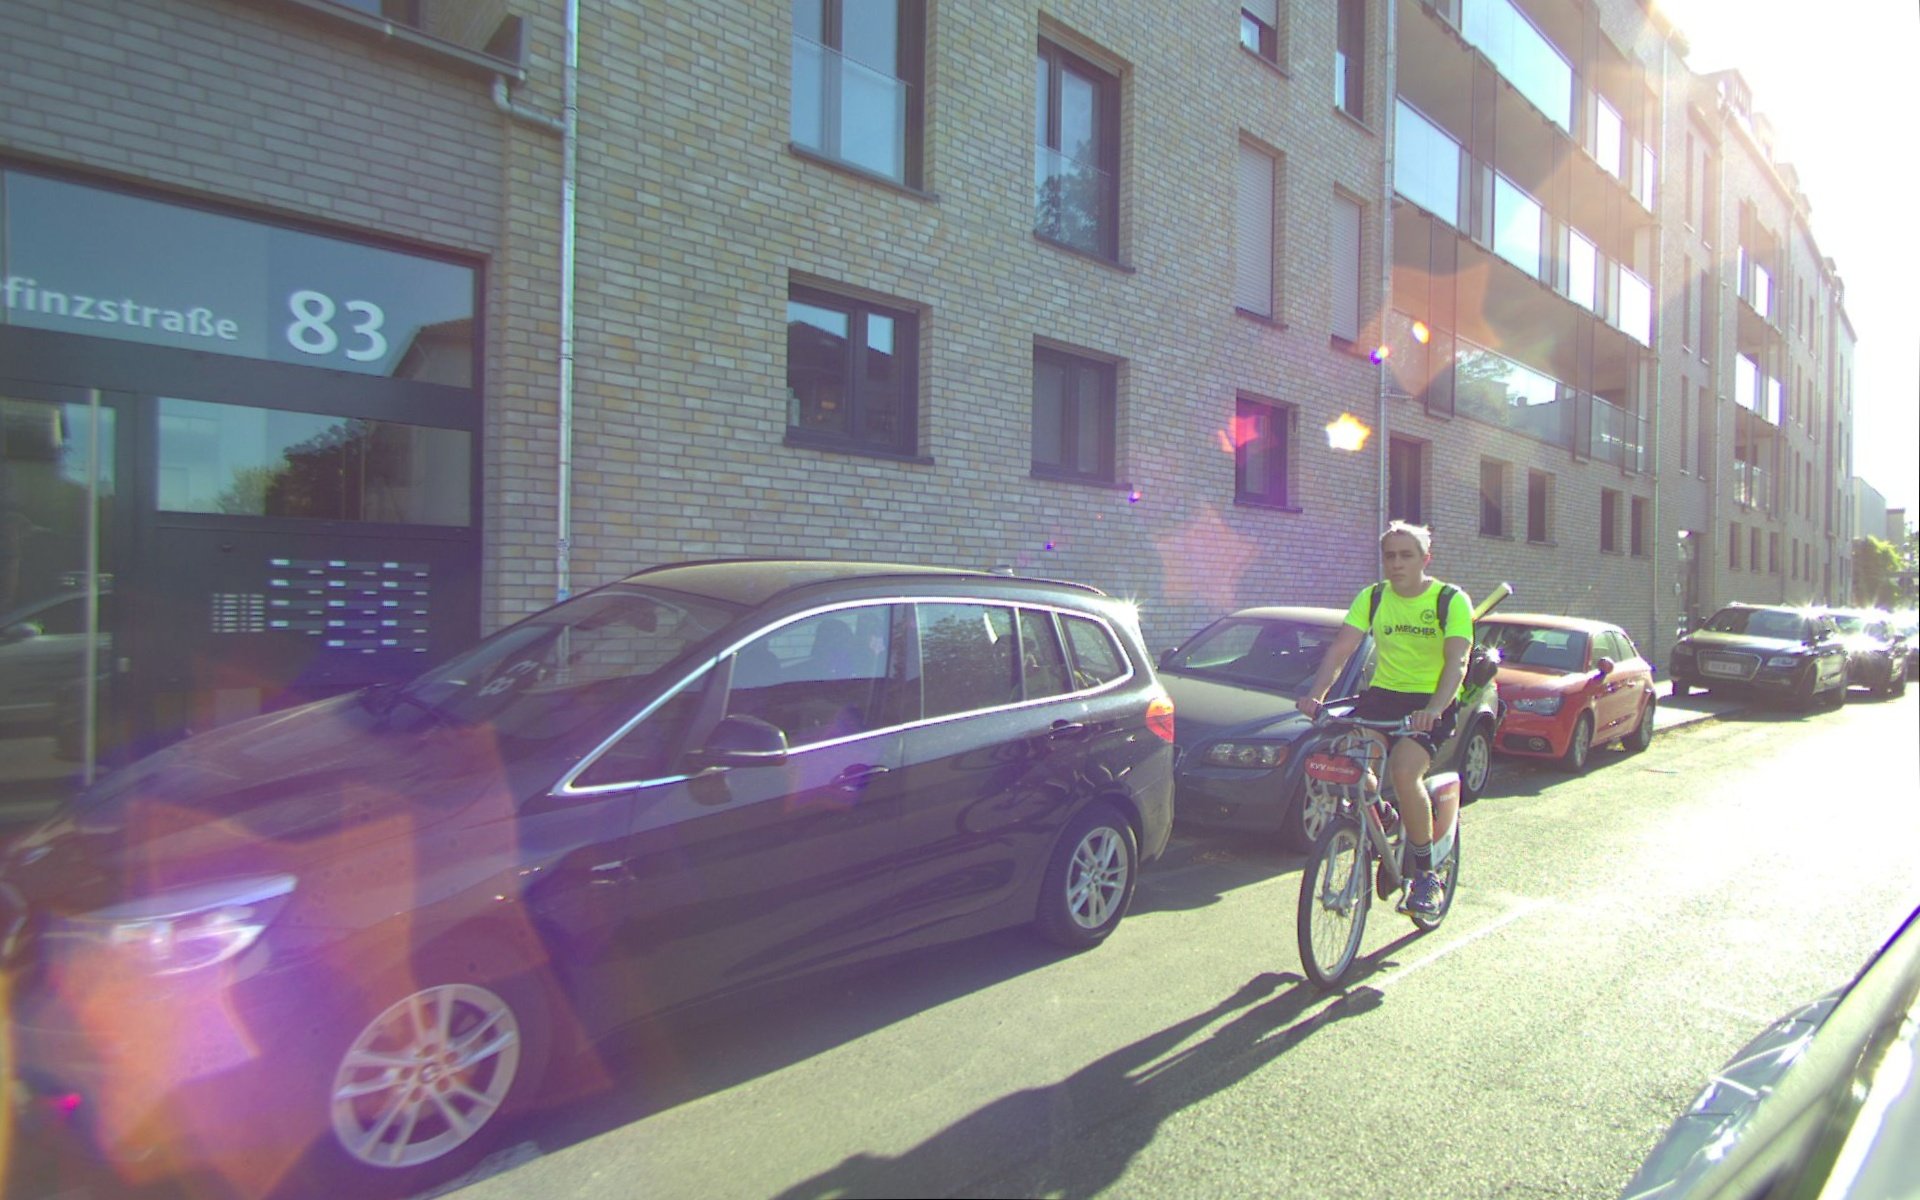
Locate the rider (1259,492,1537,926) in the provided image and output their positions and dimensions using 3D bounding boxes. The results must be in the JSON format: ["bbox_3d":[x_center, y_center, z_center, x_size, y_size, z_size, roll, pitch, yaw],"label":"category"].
[{"bbox_3d":[1.880,0.400,4.312,1.065,1.582,0.654,-1,-2,-43],"label":"rider"}]

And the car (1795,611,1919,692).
[{"bbox_3d":[18.978,0.985,21.189,4.198,1.485,1.818,1,0,-44],"label":"car"}]

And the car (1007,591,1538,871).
[{"bbox_3d":[2.579,0.745,7.748,4.291,1.525,1.996,1,0,-42],"label":"car"}]

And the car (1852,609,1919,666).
[{"bbox_3d":[27.991,1.084,30.285,1.664,1.535,4.151,3,2,45],"label":"car"}]

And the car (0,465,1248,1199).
[{"bbox_3d":[-0.936,0.618,4.141,4.683,1.674,1.995,2,-1,-44],"label":"car"}]

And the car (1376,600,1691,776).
[{"bbox_3d":[6.268,0.796,10.874,4.003,1.421,1.716,1,3,-42],"label":"car"}]

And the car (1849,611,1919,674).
[{"bbox_3d":[24.920,1.073,26.886,1.697,1.486,4.644,2,1,44],"label":"car"}]

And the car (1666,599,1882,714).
[{"bbox_3d":[14.267,0.910,17.640,4.685,1.734,1.895,2,-1,-38],"label":"car"}]

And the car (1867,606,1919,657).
[{"bbox_3d":[32.163,1.050,34.260,4.548,1.548,1.728,1,3,-44],"label":"car"}]

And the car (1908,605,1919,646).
[{"bbox_3d":[39.823,1.080,41.270,1.651,1.612,4.274,3,1,43],"label":"car"}]

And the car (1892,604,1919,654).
[{"bbox_3d":[36.042,1.049,37.757,1.668,1.755,4.760,1,0,45],"label":"car"}]

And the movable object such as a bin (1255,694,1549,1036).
[{"bbox_3d":[1.967,1.004,4.358,1.810,1.046,0.455,-1,-2,-44],"label":"movable object such as a bin"}]
